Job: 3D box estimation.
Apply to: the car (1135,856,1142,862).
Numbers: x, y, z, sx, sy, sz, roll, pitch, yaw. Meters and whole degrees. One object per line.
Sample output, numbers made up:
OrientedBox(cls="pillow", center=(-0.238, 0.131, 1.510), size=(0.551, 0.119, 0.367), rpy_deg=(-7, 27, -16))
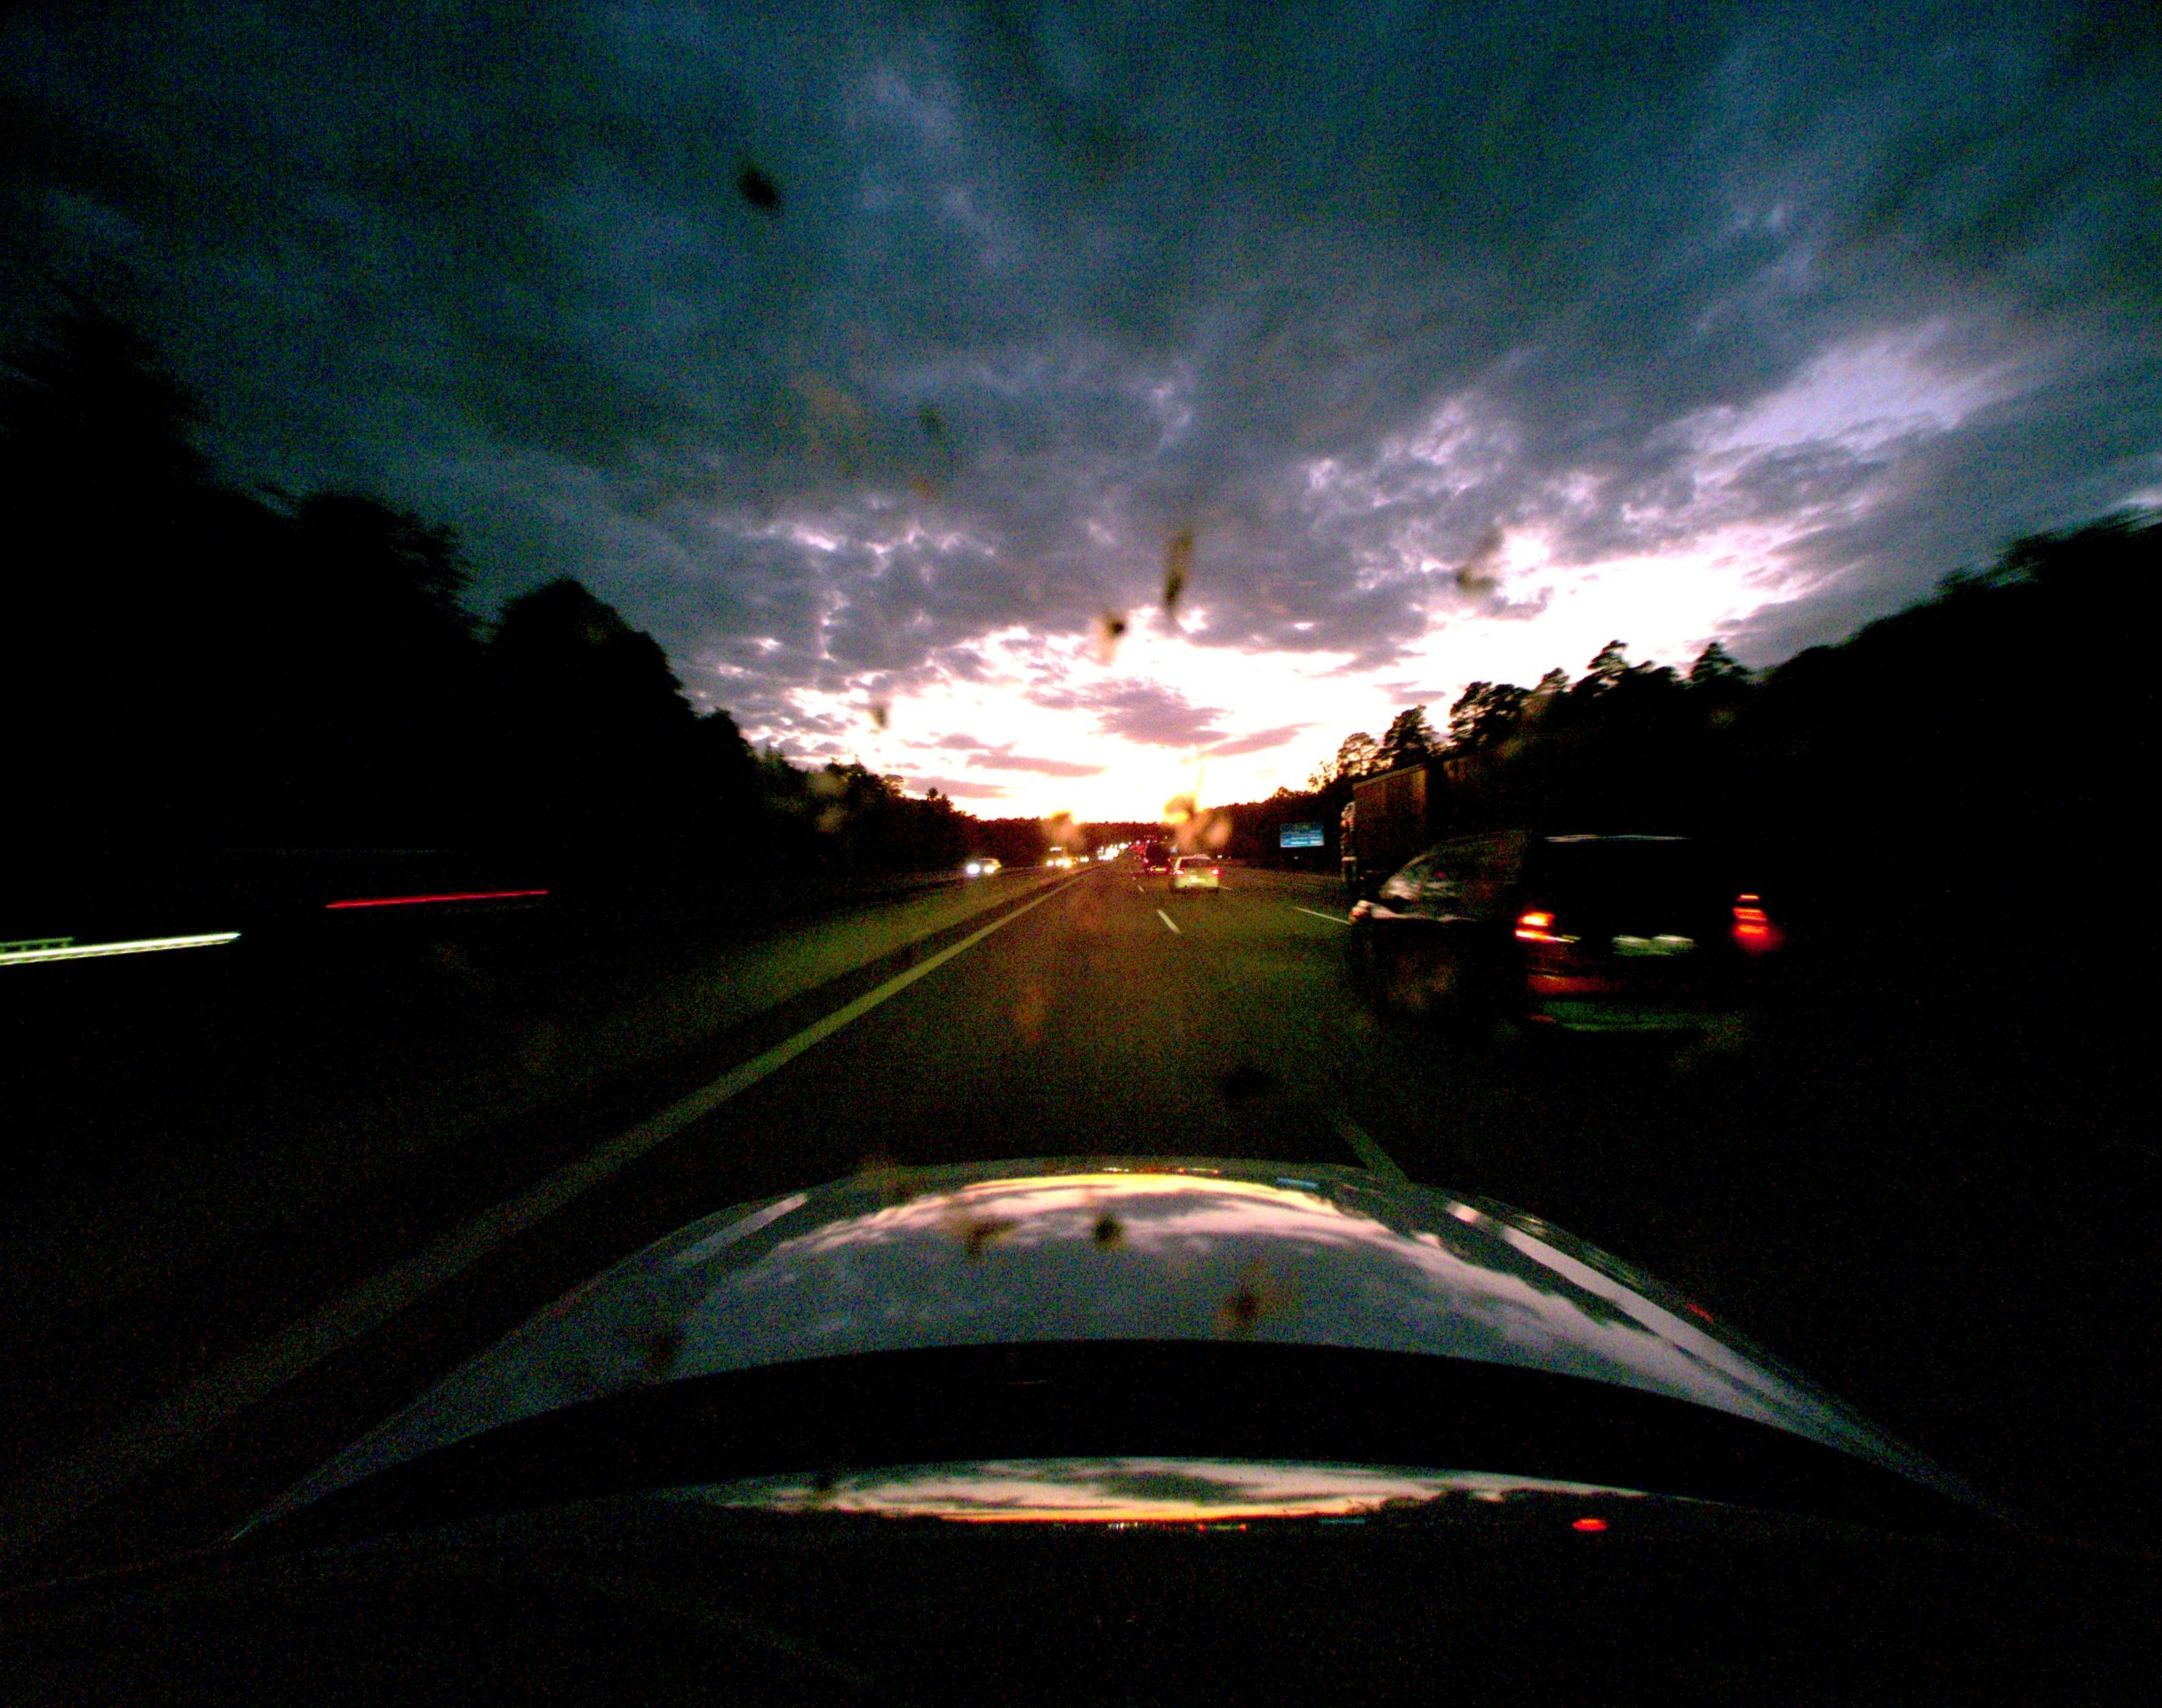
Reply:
OrientedBox(cls="car", center=(16.011, 1.287, 227.484), size=(1.827, 1.570, 4.006), rpy_deg=(-1, 0, 6))

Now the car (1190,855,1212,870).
OrientedBox(cls="car", center=(12.341, 0.860, 84.034), size=(1.998, 1.538, 4.006), rpy_deg=(-1, 0, 6))

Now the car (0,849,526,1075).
OrientedBox(cls="car", center=(-8.631, 0.792, 8.408), size=(1.984, 1.638, 5.117), rpy_deg=(0, 0, 5))

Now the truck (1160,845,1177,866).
OrientedBox(cls="truck", center=(24.638, 0.456, 229.106), size=(4.130, 5.856, 14.312), rpy_deg=(-1, 0, 4))

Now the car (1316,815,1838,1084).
OrientedBox(cls="car", center=(3.836, 0.602, 7.637), size=(1.896, 1.643, 5.054), rpy_deg=(-1, 0, 1))

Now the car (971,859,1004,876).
OrientedBox(cls="car", center=(-7.906, 1.118, 69.398), size=(1.747, 1.429, 5.369), rpy_deg=(-1, 0, 4))

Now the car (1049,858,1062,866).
OrientedBox(cls="car", center=(-4.312, 1.377, 138.354), size=(1.769, 1.401, 4.942), rpy_deg=(-1, 0, 3))

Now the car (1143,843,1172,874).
OrientedBox(cls="car", center=(6.251, 0.359, 66.200), size=(2.155, 2.419, 5.573), rpy_deg=(-1, 0, 6))

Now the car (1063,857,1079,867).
OrientedBox(cls="car", center=(-1.462, 1.232, 120.621), size=(1.985, 1.401, 4.690), rpy_deg=(-1, 0, 3))

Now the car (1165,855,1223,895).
OrientedBox(cls="car", center=(4.422, 0.779, 32.323), size=(1.852, 1.442, 3.722), rpy_deg=(-1, 0, 2))

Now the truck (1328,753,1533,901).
OrientedBox(cls="truck", center=(11.483, -0.737, 28.384), size=(2.873, 4.100, 10.838), rpy_deg=(-1, 0, 3))

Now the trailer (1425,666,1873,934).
OrientedBox(cls="trailer", center=(10.968, -0.810, 17.790), size=(2.895, 4.100, 10.364), rpy_deg=(-1, 0, 3))

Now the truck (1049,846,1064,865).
OrientedBox(cls="truck", center=(-5.450, 0.342, 182.530), size=(2.639, 4.132, 6.528), rpy_deg=(-1, 0, 2))
